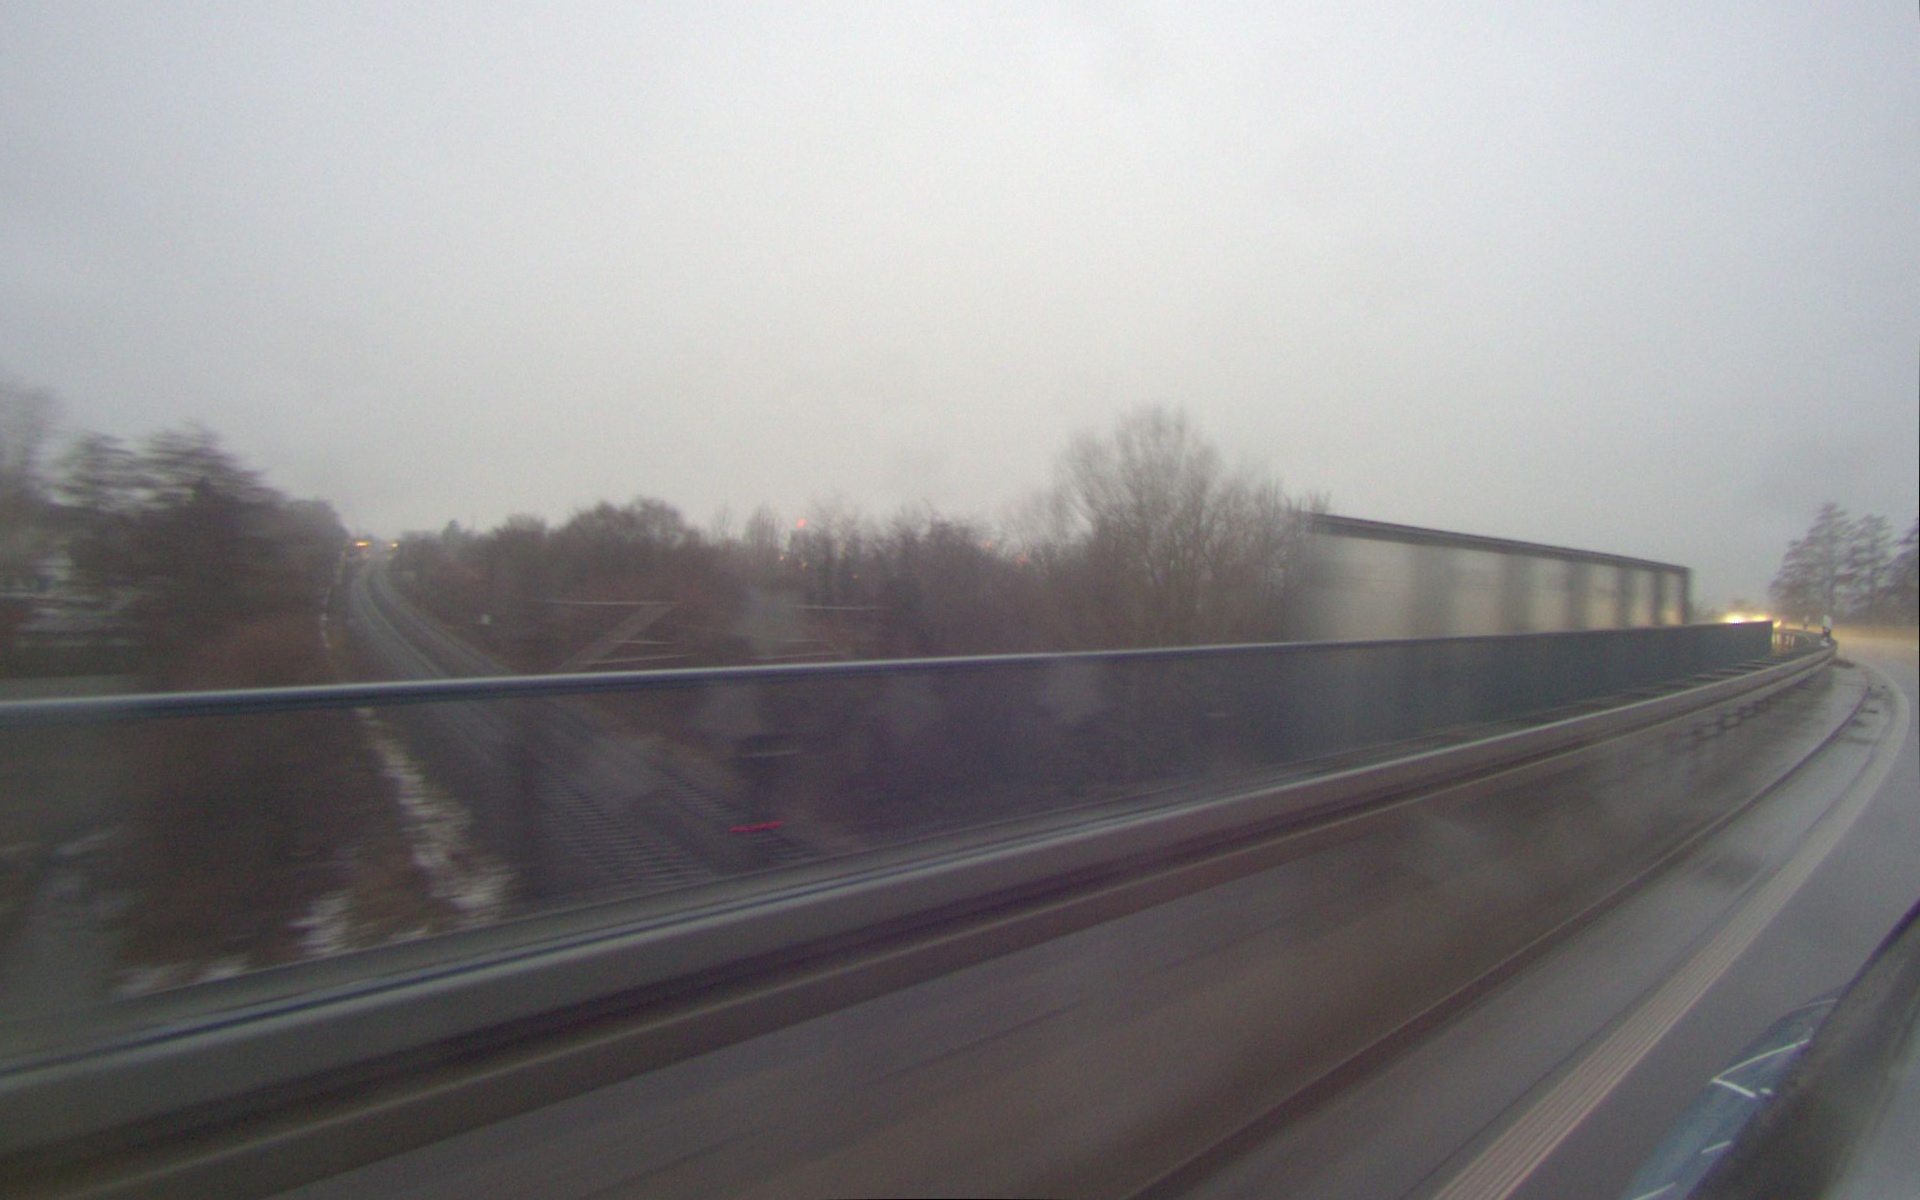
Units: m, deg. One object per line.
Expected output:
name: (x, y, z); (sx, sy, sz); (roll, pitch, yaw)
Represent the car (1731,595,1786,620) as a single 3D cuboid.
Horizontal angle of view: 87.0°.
car: (52.792, 0.501, 67.016); (2.085, 1.595, 4.751); (0, 0, 29)
